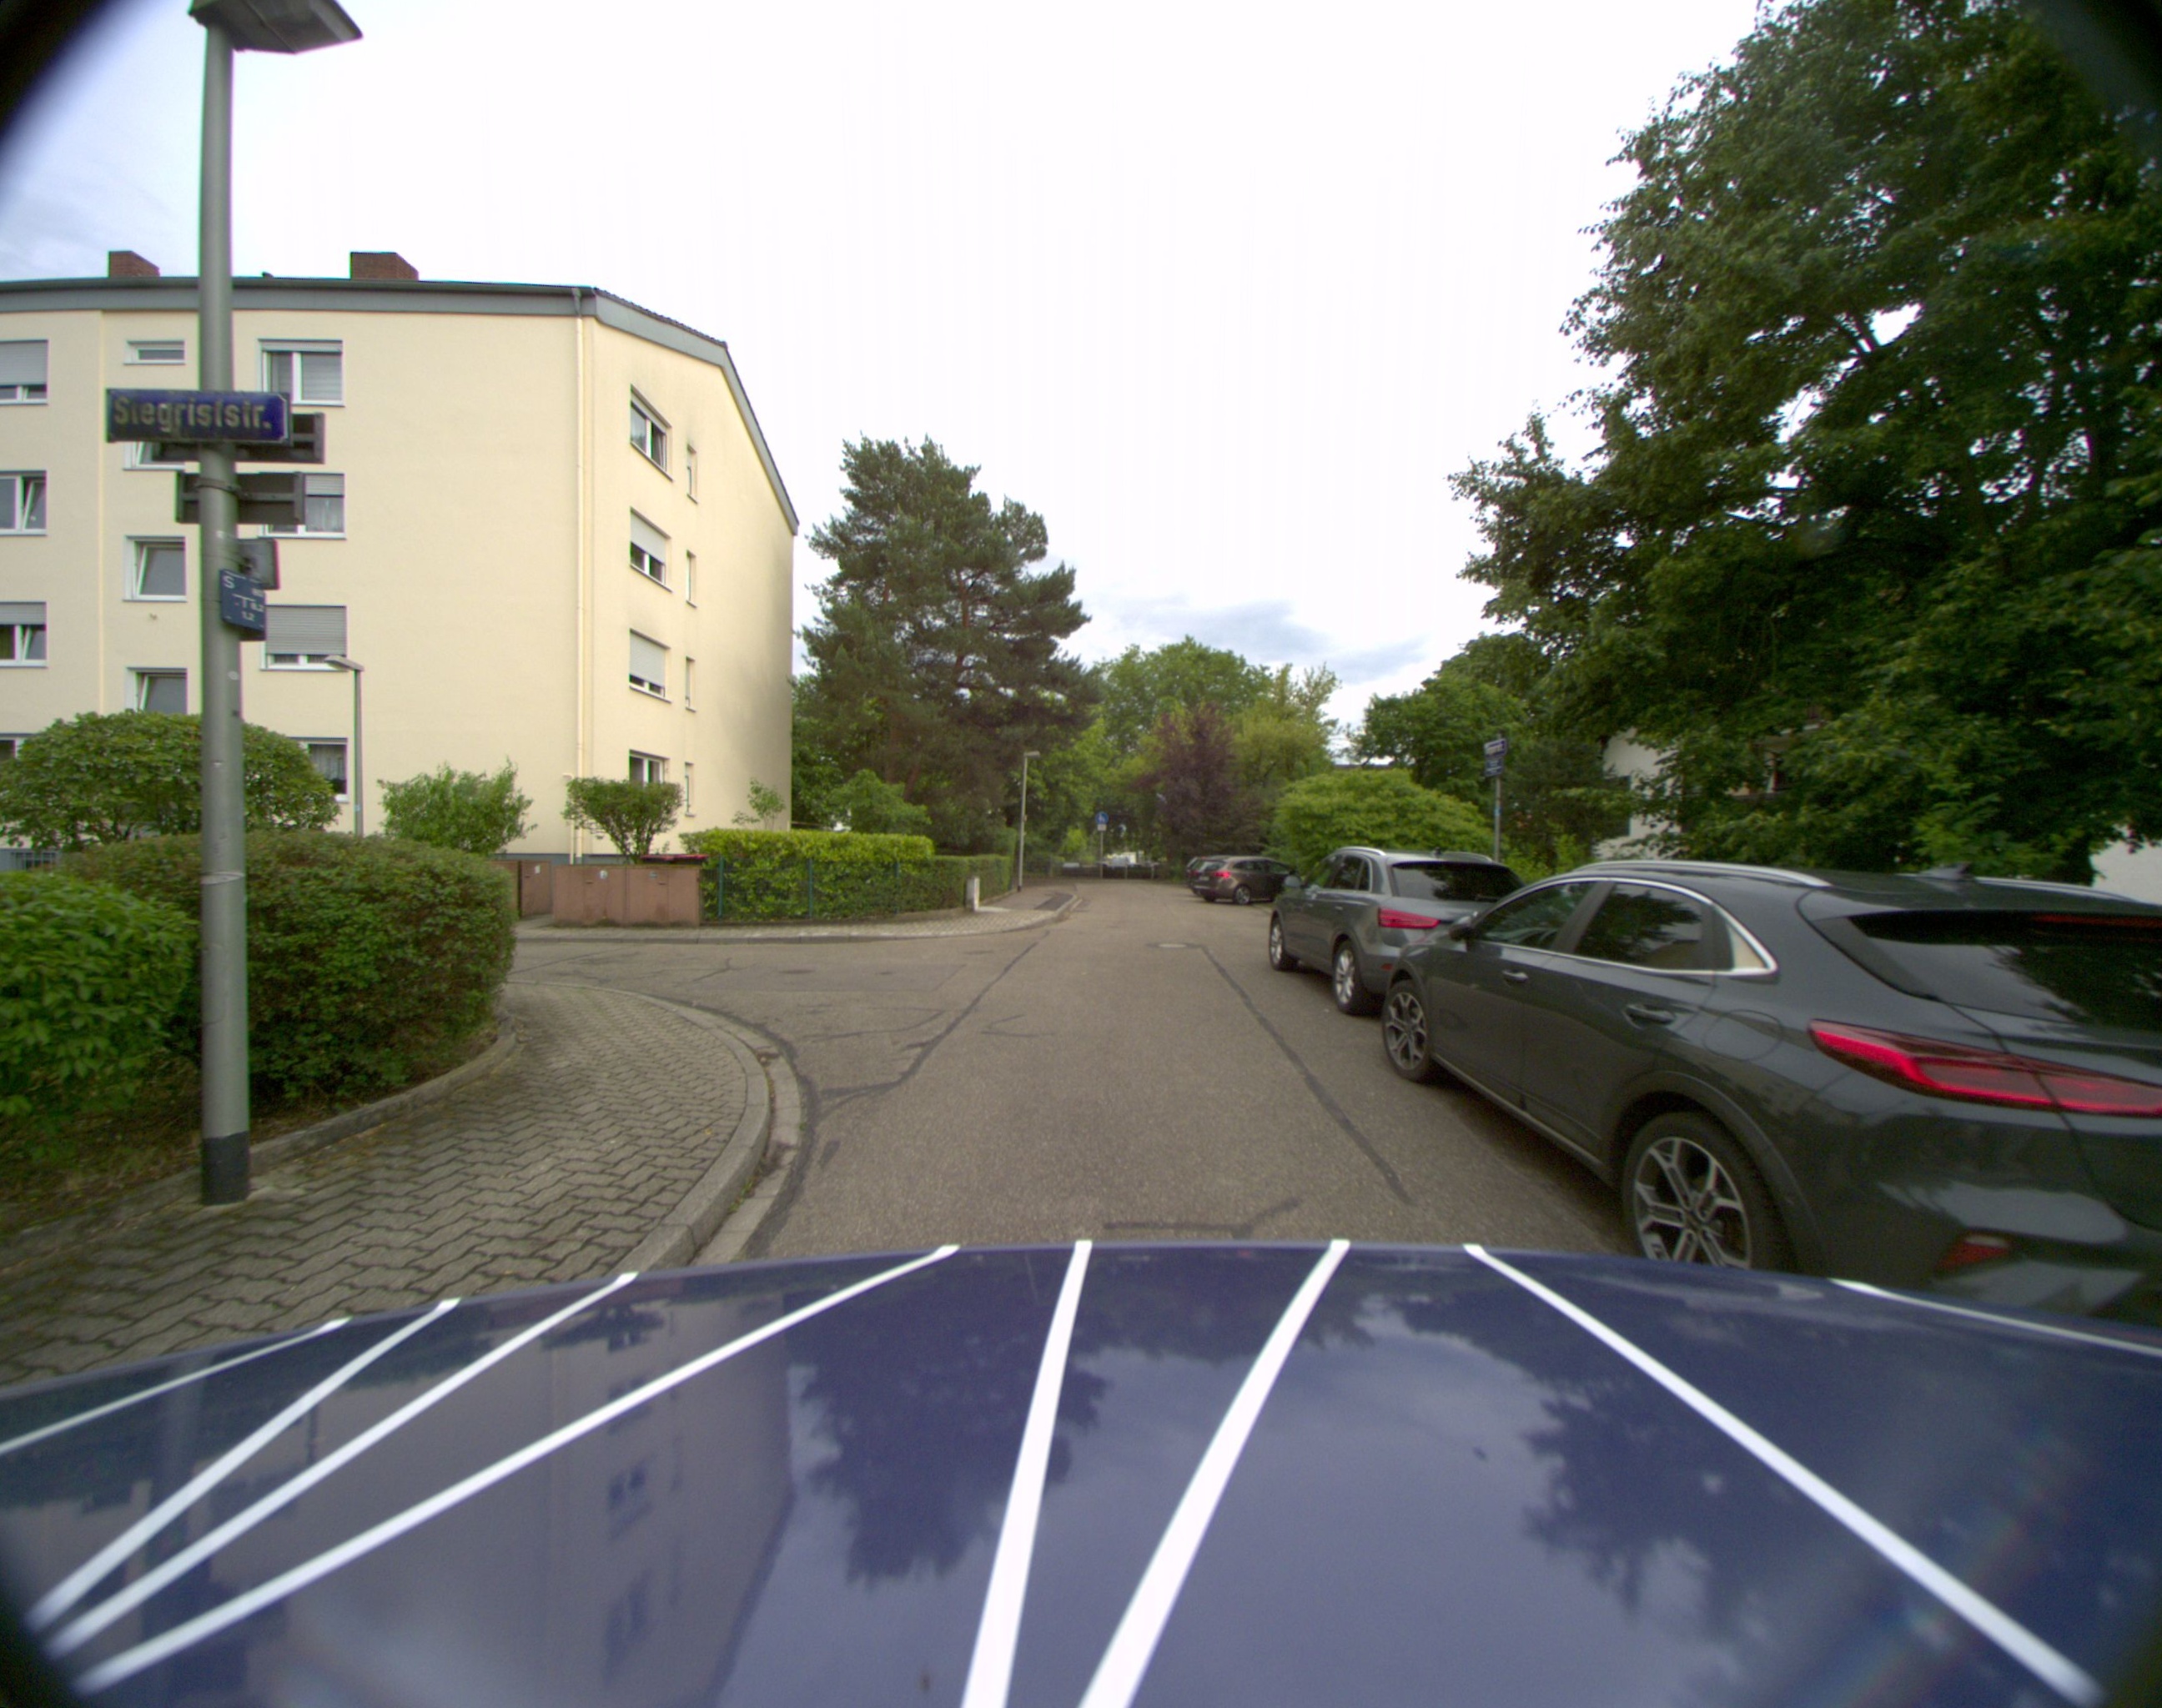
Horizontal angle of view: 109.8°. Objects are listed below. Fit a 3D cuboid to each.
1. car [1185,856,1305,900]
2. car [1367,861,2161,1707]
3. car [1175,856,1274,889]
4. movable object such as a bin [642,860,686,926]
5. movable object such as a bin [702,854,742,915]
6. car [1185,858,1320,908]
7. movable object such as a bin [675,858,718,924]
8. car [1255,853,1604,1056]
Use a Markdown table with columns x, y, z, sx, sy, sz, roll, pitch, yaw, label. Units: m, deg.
| x | y | z | sx | sy | sz | roll | pitch | yaw | label |
| --- | --- | --- | --- | --- | --- | --- | --- | --- | --- |
| 5.894 | 0.833 | 27.298 | 4.005 | 1.482 | 1.697 | 0 | 1 | -25 | car |
| 2.827 | 0.865 | 3.424 | 1.745 | 1.522 | 4.196 | 2 | 1 | 5 | car |
| 6.341 | 0.789 | 33.548 | 4.005 | 1.367 | 1.697 | 0 | 1 | -25 | car |
| -7.635 | 0.710 | 13.932 | 0.515 | 1.181 | 0.507 | 0 | 1 | -1 | movable object such as a bin |
| -6.951 | 0.579 | 14.727 | 0.515 | 1.158 | 0.507 | 1 | 0 | -1 | movable object such as a bin |
| 5.497 | 0.886 | 24.385 | 4.005 | 1.482 | 1.697 | 0 | 1 | -25 | car |
| -7.059 | 0.676 | 13.971 | 0.515 | 1.180 | 0.507 | 1 | 0 | -1 | movable object such as a bin |
| 3.277 | 0.810 | 8.219 | 1.746 | 1.522 | 4.250 | 2 | 1 | 0 | car |
